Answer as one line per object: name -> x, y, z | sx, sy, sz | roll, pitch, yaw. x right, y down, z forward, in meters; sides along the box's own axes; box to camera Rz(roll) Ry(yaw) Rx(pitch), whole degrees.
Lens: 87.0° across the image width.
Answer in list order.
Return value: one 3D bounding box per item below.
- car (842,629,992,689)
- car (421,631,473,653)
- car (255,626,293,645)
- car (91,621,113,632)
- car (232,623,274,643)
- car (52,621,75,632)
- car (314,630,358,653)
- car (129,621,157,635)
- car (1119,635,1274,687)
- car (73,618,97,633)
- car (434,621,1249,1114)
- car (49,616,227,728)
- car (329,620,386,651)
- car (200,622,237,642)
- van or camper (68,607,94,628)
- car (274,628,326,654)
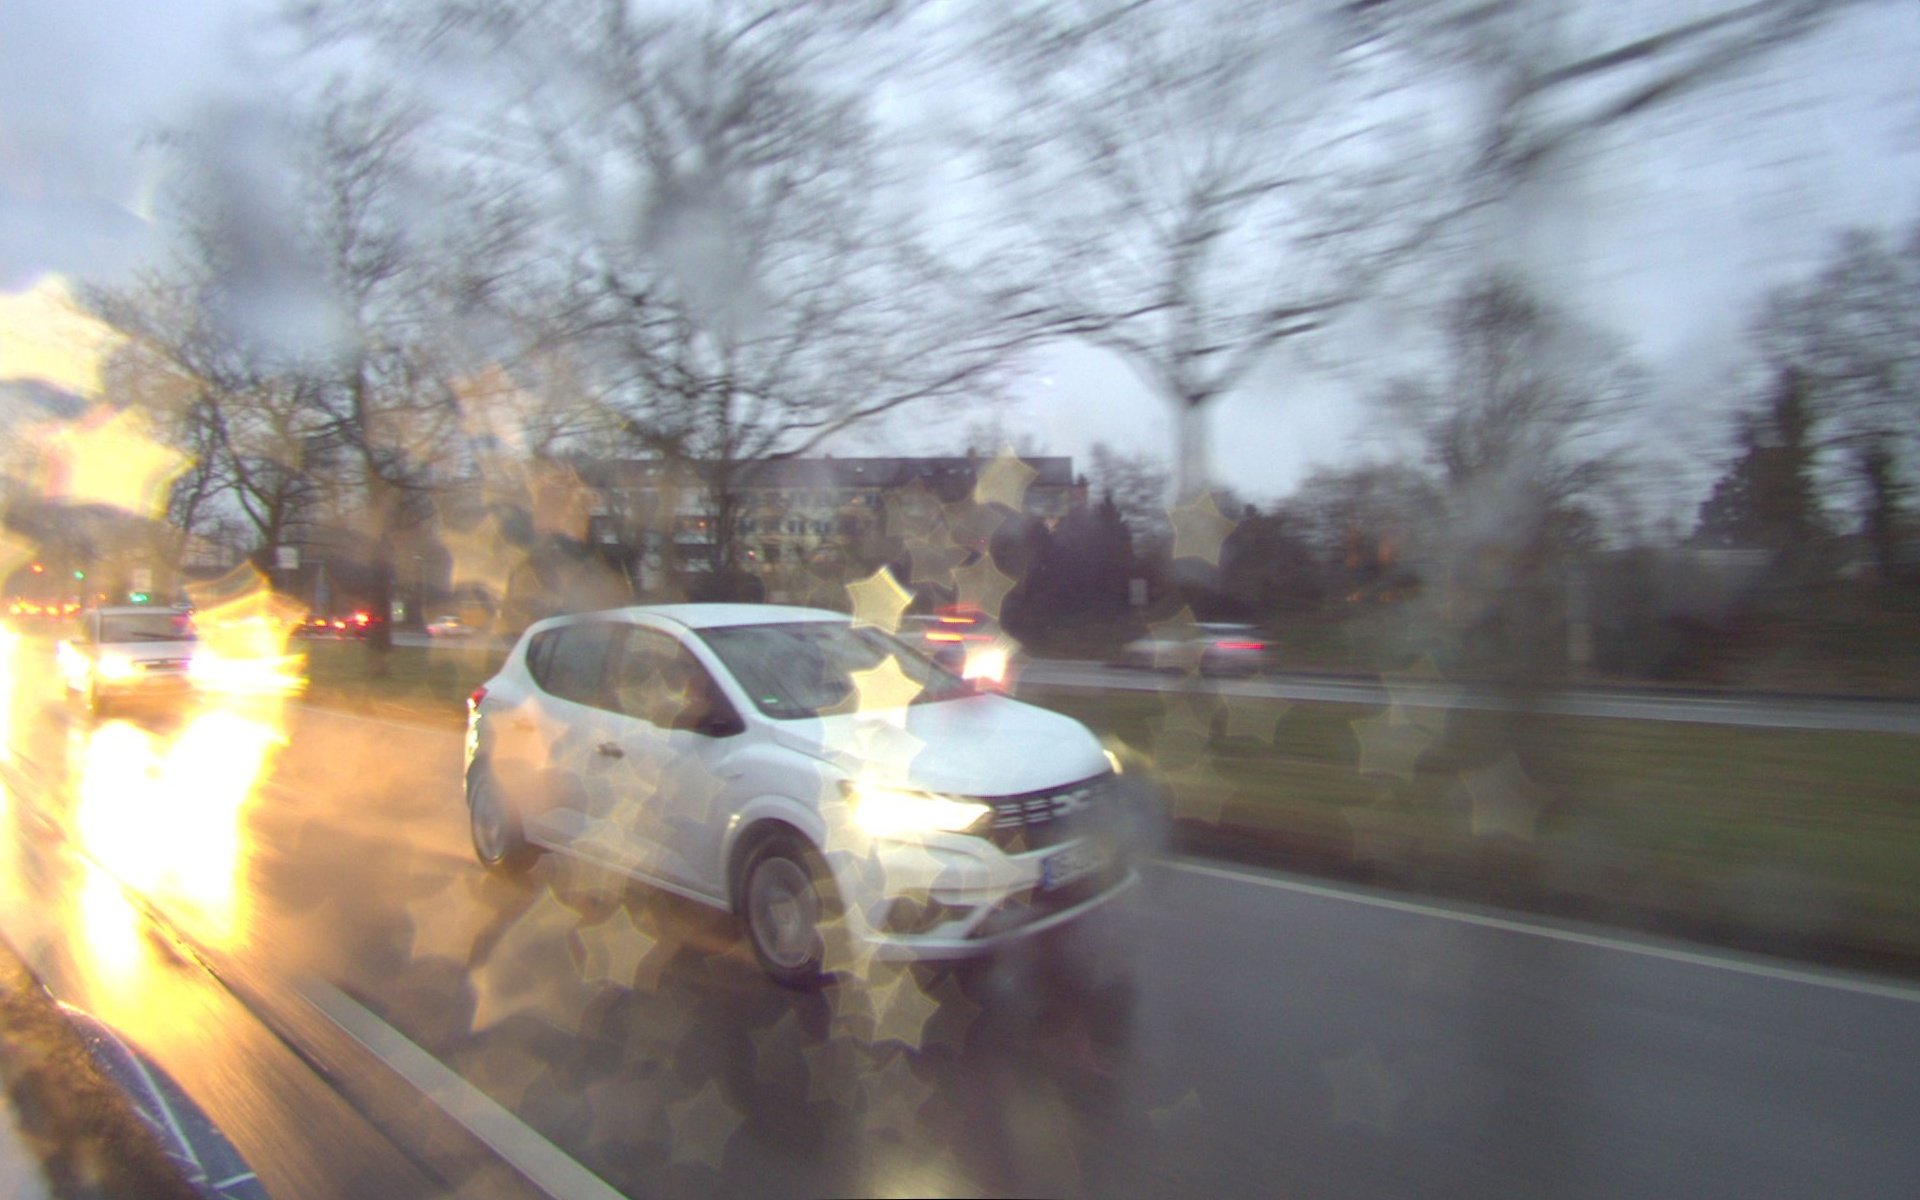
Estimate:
car -> -1.211, 1.535, 27.253 | 3.977, 1.436, 1.730 | 0, -2, 42
car -> -33.860, 2.750, 66.772 | 4.301, 1.405, 1.729 | -1, -2, 44
car -> -58.197, 2.986, 85.850 | 4.271, 1.500, 1.700 | 0, -2, 42
car -> -101.006, 3.118, 119.122 | 3.999, 1.302, 1.520 | -1, -2, 42
car -> -51.406, 2.363, 73.546 | 3.955, 1.364, 1.631 | 0, -2, 42
car -> -100.989, 3.007, 113.984 | 3.999, 1.206, 1.440 | 0, 0, 42
car -> -43.217, 2.844, 70.067 | 3.790, 1.479, 1.614 | -1, -2, 42
car -> -81.211, 2.755, 100.560 | 3.955, 1.338, 1.520 | -1, -2, 42
car -> 6.684, 1.687, 28.862 | 4.105, 1.312, 1.561 | -1, -2, 44
car -> -95.981, 2.778, 111.000 | 3.999, 1.514, 1.553 | 0, 0, 42
car -> -0.910, 0.844, 5.073 | 4.224, 1.451, 1.705 | -1, -2, 42
car -> -13.766, 1.095, 16.857 | 4.165, 1.611, 1.742 | -1, -2, 43
car -> -33.666, 1.973, 56.543 | 3.980, 1.694, 1.600 | -1, -2, 42
car -> -59.489, 2.557, 81.193 | 3.955, 1.511, 1.631 | -1, -2, 42
van or camper -> -111.907, 2.208, 128.863 | 4.738, 2.629, 1.942 | -1, -2, 42
car -> -43.273, 2.659, 66.331 | 4.377, 1.545, 1.764 | 0, -2, 42
